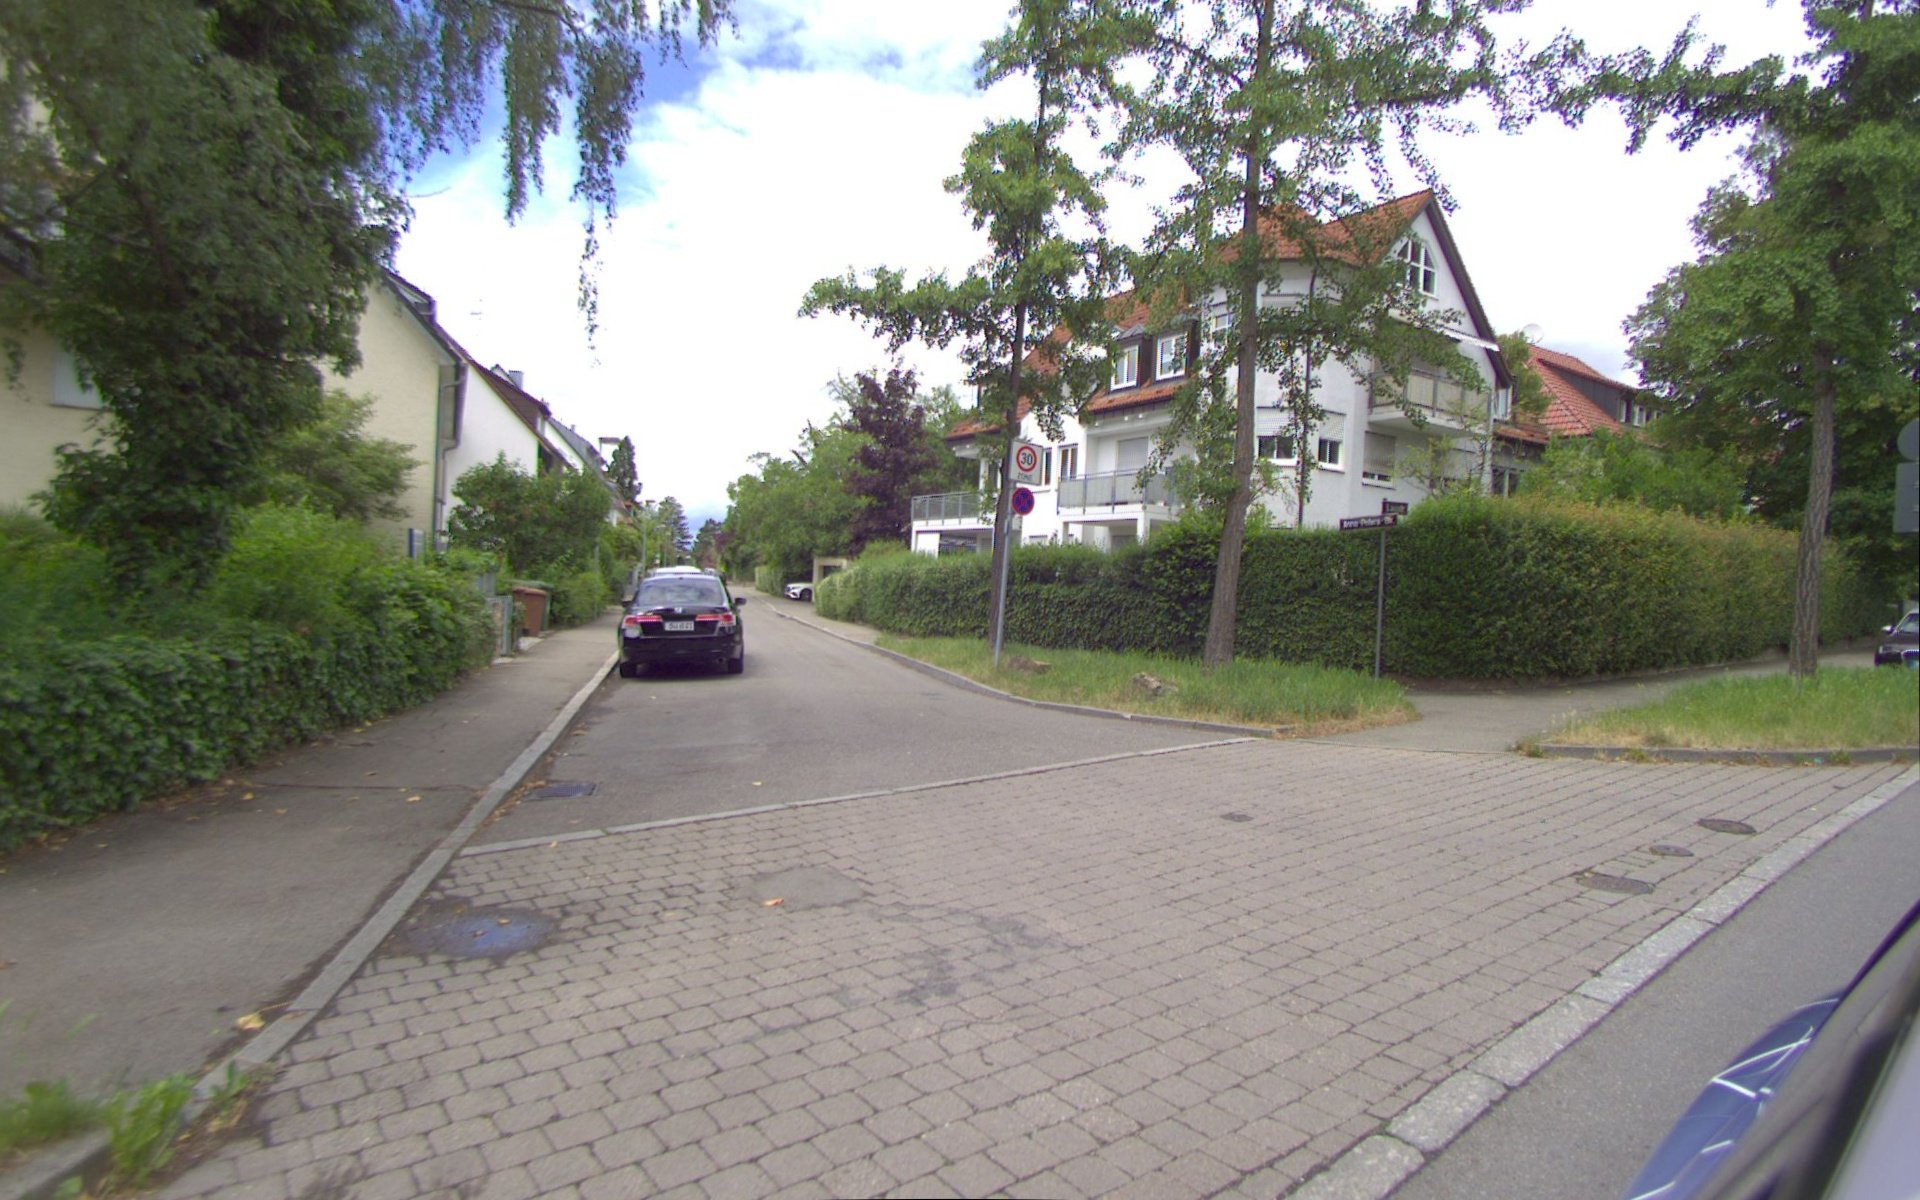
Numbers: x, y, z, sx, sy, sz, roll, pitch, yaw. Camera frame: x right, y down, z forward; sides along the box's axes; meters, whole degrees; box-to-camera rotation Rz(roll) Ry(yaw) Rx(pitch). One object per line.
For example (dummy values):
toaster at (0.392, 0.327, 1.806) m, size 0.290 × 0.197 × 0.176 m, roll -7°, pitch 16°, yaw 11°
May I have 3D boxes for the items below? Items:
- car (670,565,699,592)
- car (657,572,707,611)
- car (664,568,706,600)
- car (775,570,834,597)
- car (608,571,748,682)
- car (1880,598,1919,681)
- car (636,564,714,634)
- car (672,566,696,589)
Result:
car at (-18.072, -1.389, 66.277) m, size 1.667 × 1.679 × 3.946 m, roll -1°, pitch 1°, yaw -17°
car at (-10.302, -0.333, 37.505) m, size 1.676 × 1.329 × 3.875 m, roll 1°, pitch 1°, yaw -16°
car at (-13.566, -0.785, 49.754) m, size 1.830 × 1.482 × 4.471 m, roll -1°, pitch 1°, yaw -17°
car at (-8.859, -0.951, 57.566) m, size 3.114 × 1.468 × 1.368 m, roll 1°, pitch 1°, yaw -18°
car at (-4.382, 0.300, 16.111) m, size 1.830 × 1.482 × 4.470 m, roll -1°, pitch 1°, yaw -13°
car at (18.269, 0.683, 18.342) m, size 3.720 × 1.430 × 1.714 m, roll 0°, pitch 0°, yaw -37°
car at (-7.110, -0.070, 25.320) m, size 1.727 × 1.574 × 3.978 m, roll -1°, pitch 1°, yaw -15°
car at (-20.998, -1.697, 77.001) m, size 1.616 × 1.669 × 3.744 m, roll -1°, pitch 1°, yaw -17°
